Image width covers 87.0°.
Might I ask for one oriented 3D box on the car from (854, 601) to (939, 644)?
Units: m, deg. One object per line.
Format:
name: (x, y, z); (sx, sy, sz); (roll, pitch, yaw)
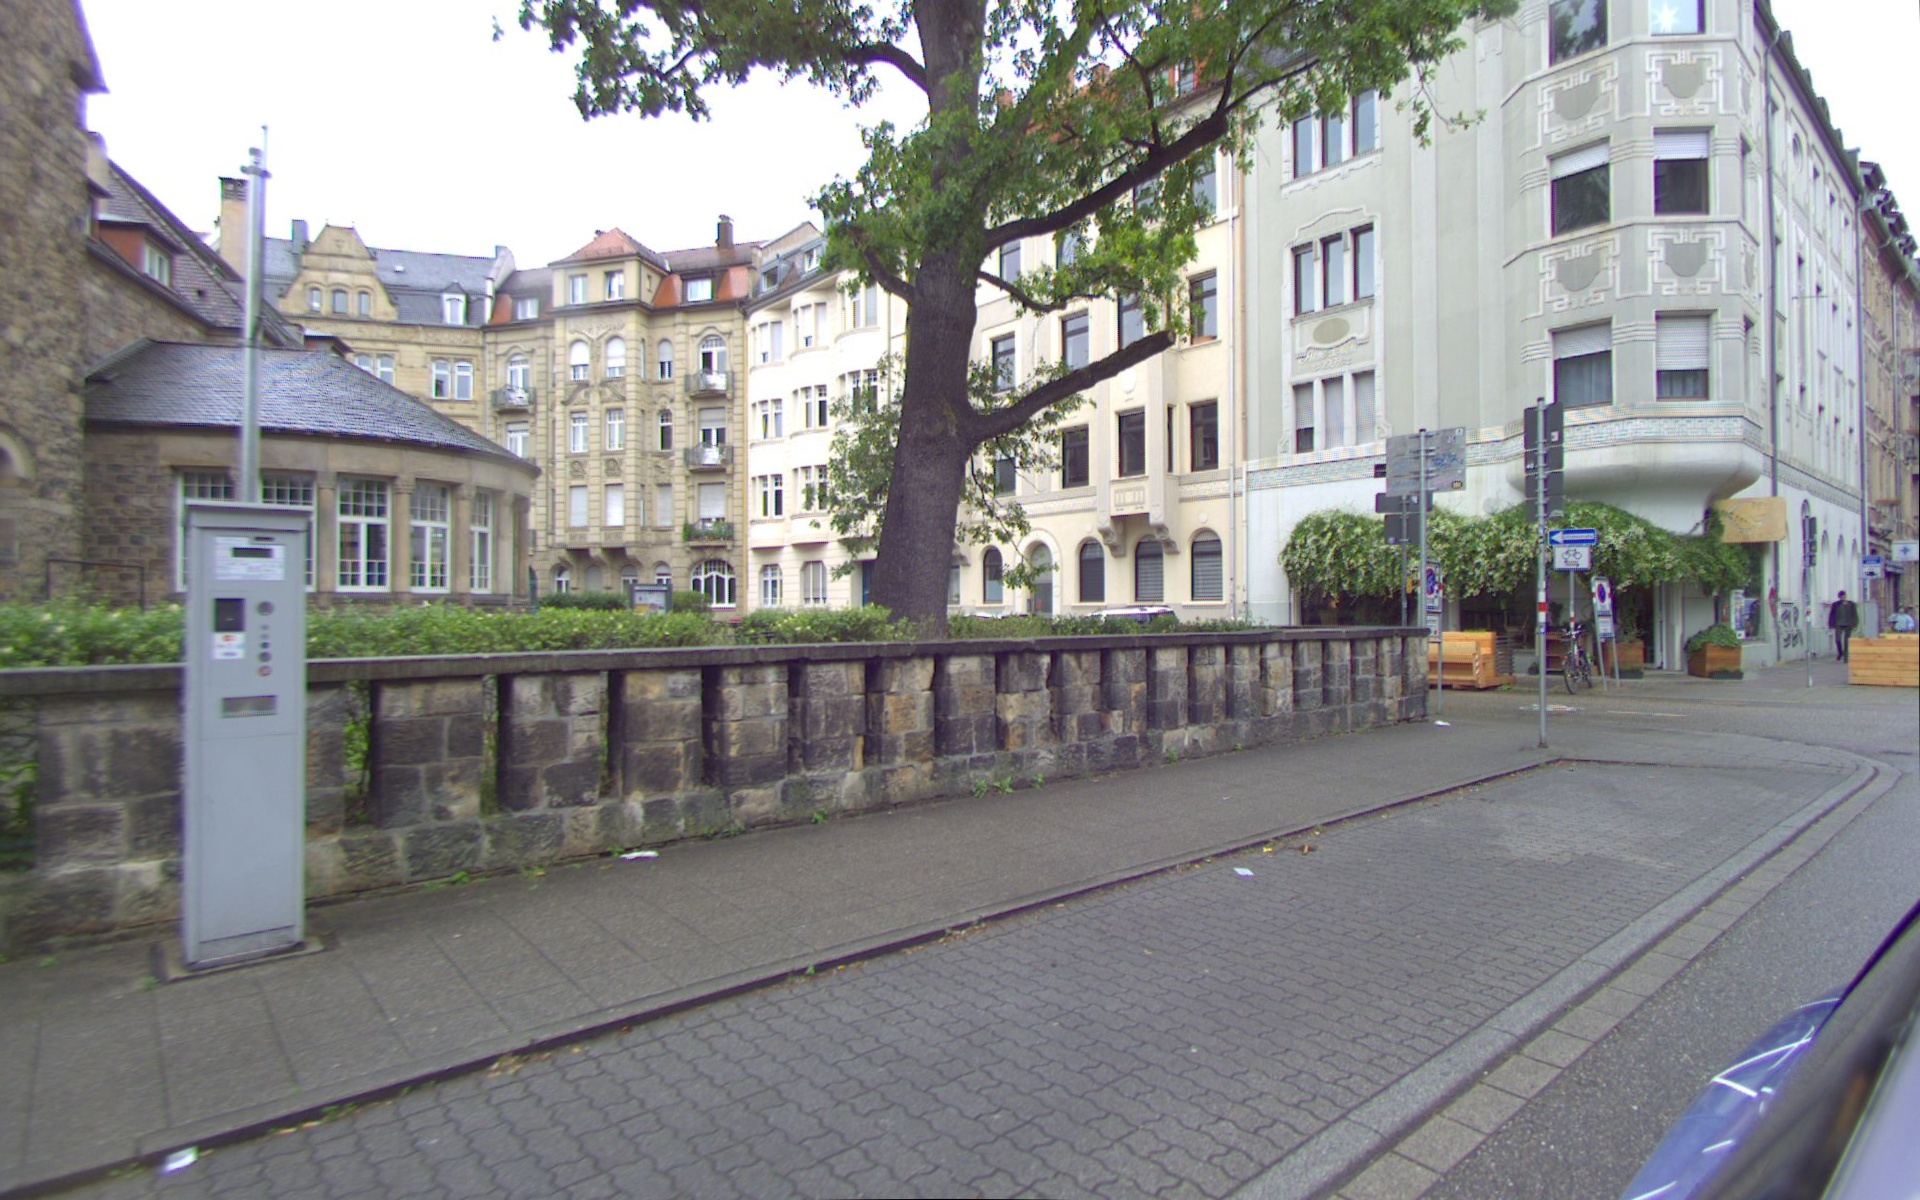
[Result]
car: (-2.290, 0.756, 35.828); (1.421, 1.427, 3.271); (0, 0, -37)

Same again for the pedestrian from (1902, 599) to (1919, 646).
pedestrian: (30.381, 0.713, 32.271); (0.385, 1.479, 0.481); (1, 0, -40)

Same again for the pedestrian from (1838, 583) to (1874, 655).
pedestrian: (23.978, 0.503, 27.092); (0.681, 1.896, 0.645); (1, 0, -41)

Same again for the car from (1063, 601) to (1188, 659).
car: (4.438, 0.766, 27.436); (1.421, 1.427, 3.271); (0, 0, -37)

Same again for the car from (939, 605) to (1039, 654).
car: (0.871, 0.896, 31.806); (1.421, 1.427, 3.271); (0, 0, -37)

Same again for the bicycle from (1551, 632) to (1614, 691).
bicycle: (11.512, 1.115, 18.691); (1.989, 0.904, 0.390); (-3, 2, -41)
